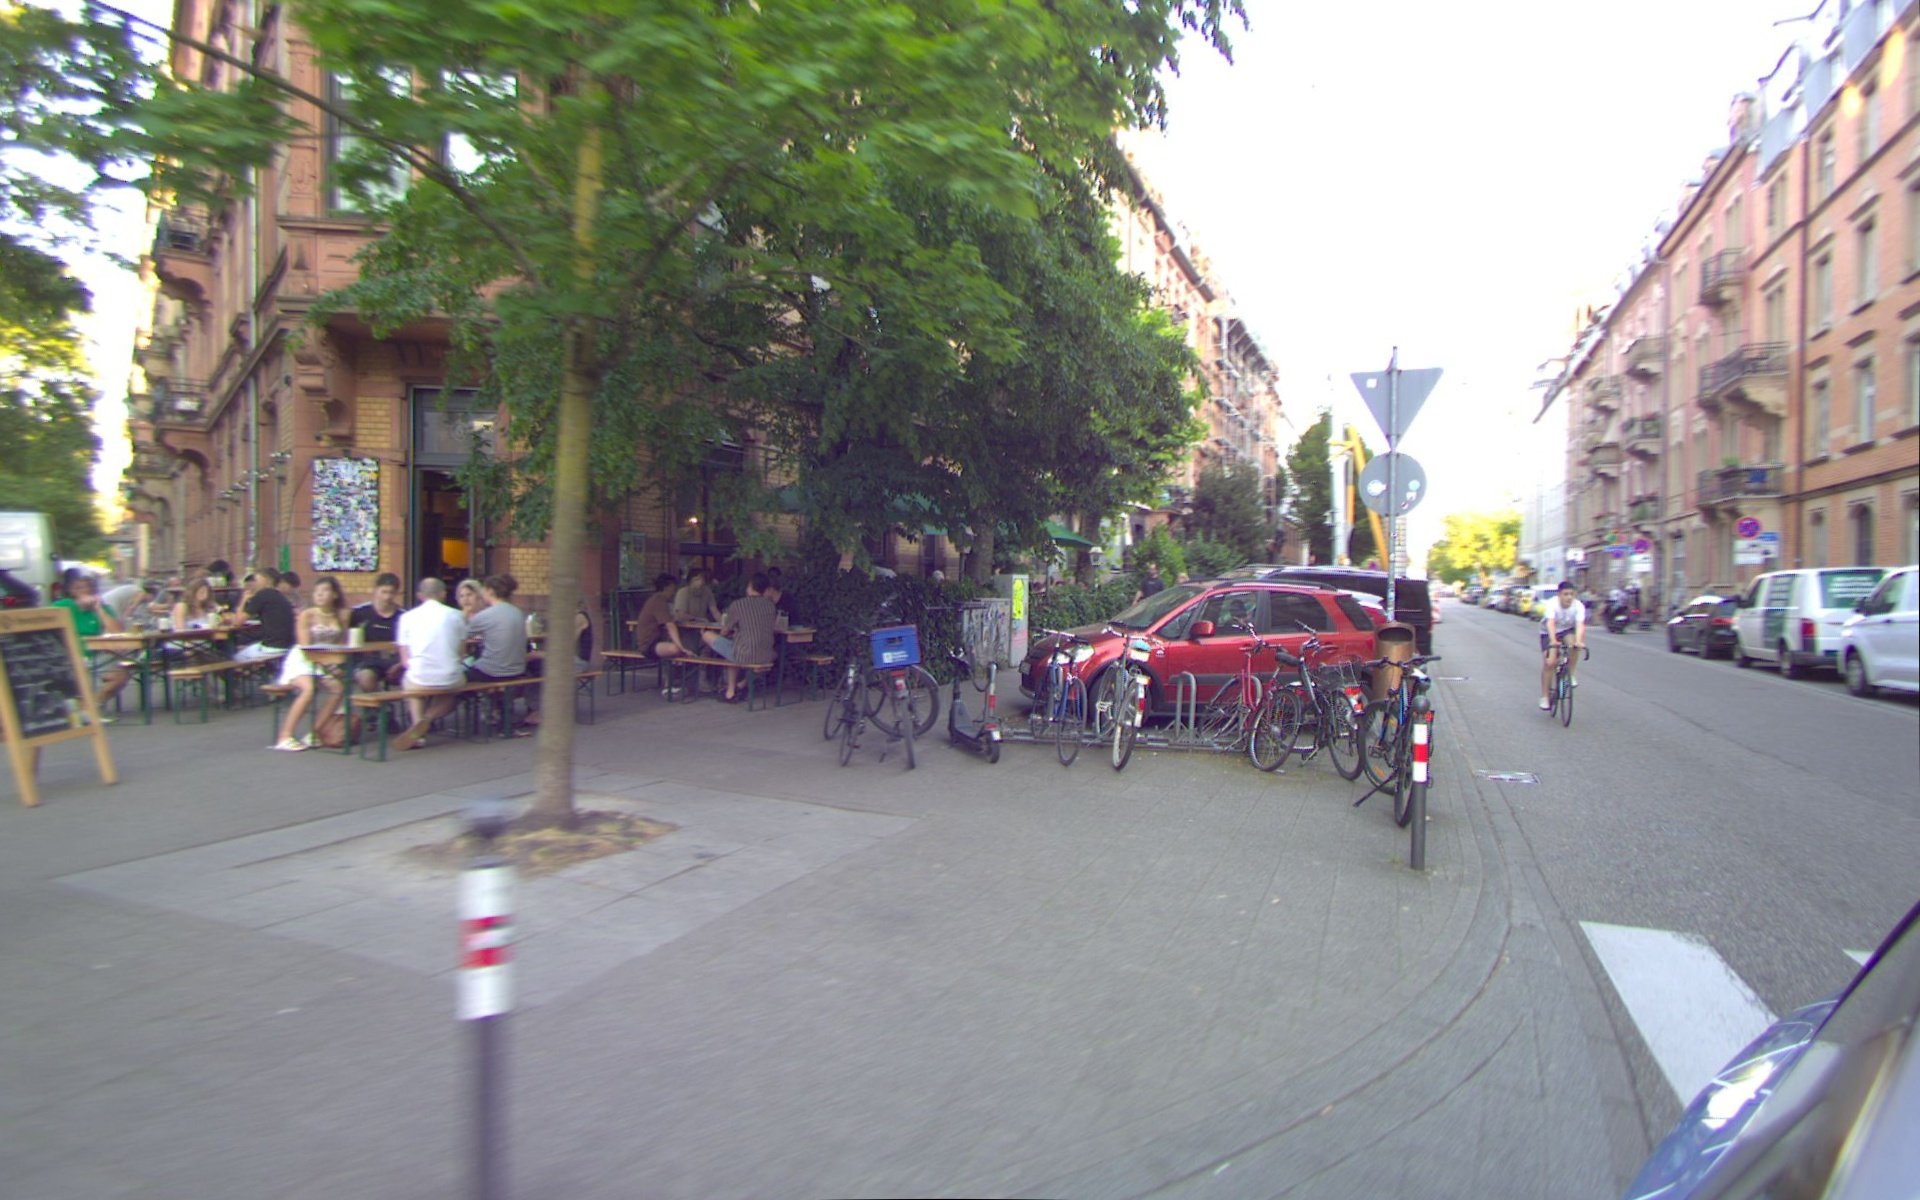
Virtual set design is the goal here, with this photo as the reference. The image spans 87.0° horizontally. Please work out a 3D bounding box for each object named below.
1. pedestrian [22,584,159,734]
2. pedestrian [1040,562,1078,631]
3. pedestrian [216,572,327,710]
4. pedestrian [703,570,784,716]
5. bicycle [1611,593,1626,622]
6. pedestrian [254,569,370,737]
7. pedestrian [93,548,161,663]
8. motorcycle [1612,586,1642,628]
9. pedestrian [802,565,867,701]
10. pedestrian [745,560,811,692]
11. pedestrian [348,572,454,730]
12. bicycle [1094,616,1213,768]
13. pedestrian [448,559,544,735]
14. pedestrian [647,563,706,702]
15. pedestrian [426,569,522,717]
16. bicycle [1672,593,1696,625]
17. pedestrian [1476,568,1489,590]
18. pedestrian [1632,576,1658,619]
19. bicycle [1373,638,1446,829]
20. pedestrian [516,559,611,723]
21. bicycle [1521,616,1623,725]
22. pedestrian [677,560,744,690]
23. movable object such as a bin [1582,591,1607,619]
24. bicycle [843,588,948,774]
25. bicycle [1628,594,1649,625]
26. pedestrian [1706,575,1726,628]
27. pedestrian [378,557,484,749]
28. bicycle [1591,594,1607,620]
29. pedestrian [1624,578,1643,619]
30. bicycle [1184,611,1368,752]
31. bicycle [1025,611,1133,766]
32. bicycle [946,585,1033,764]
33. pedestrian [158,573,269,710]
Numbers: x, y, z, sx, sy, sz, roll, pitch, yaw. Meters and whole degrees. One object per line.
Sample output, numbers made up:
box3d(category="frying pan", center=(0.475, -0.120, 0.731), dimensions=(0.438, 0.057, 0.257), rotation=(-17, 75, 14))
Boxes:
box3d(category="pedestrian", center=(-7.641, 0.490, 8.909), dimensions=(0.621, 1.247, 0.733), rotation=(-1, 1, 28))
box3d(category="pedestrian", center=(2.030, -0.075, 20.723), dimensions=(0.582, 1.383, 0.692), rotation=(-1, 0, 21))
box3d(category="pedestrian", center=(-7.089, 0.397, 10.433), dimensions=(0.621, 1.362, 0.733), rotation=(-1, 1, 28))
box3d(category="pedestrian", center=(-2.169, 0.418, 10.165), dimensions=(0.629, 1.427, 0.512), rotation=(-1, 0, 13))
box3d(category="bicycle", center=(28.520, 0.305, 43.836), dimensions=(0.463, 1.169, 1.978), rotation=(-1, 1, 31))
box3d(category="pedestrian", center=(-5.171, 0.398, 8.088), dimensions=(0.541, 1.285, 0.569), rotation=(-1, 0, 26))
box3d(category="pedestrian", center=(-12.742, 0.068, 15.504), dimensions=(0.733, 1.698, 0.766), rotation=(-1, 1, -36))
box3d(category="motorcycle", center=(23.925, 0.238, 36.330), dimensions=(0.680, 1.422, 1.996), rotation=(-1, 1, 27))
box3d(category="pedestrian", center=(-1.353, 0.346, 10.954), dimensions=(0.546, 1.427, 0.512), rotation=(-1, 0, 13))
box3d(category="pedestrian", center=(-2.020, 0.283, 11.246), dimensions=(0.546, 1.427, 0.512), rotation=(-1, 0, 13))
box3d(category="pedestrian", center=(-4.751, 0.412, 8.615), dimensions=(0.541, 1.285, 0.569), rotation=(-1, 0, 26))
box3d(category="bicycle", center=(1.575, 0.711, 8.510), dimensions=(0.587, 1.077, 1.770), rotation=(-1, 1, -2))
box3d(category="pedestrian", center=(-3.839, 0.370, 8.380), dimensions=(0.540, 1.397, 0.463), rotation=(-1, 0, 23))
box3d(category="pedestrian", center=(-2.996, 0.329, 10.732), dimensions=(0.504, 1.427, 0.620), rotation=(-1, 0, -8))
box3d(category="pedestrian", center=(-4.404, 0.367, 9.184), dimensions=(0.541, 1.285, 0.569), rotation=(-1, 0, 26))
box3d(category="bicycle", center=(27.916, 0.351, 39.028), dimensions=(0.409, 1.174, 1.822), rotation=(-1, 1, 25))
box3d(category="pedestrian", center=(67.842, -2.711, 131.375), dimensions=(1.430, 2.775, 1.004), rotation=(-1, 0, 24))
box3d(category="pedestrian", center=(29.166, -0.115, 43.097), dimensions=(0.676, 1.833, 0.955), rotation=(-1, 0, 21))
box3d(category="bicycle", center=(3.065, 0.845, 6.964), dimensions=(0.361, 1.077, 1.542), rotation=(-1, 1, 21))
box3d(category="pedestrian", center=(-3.530, 0.345, 9.017), dimensions=(0.542, 1.397, 0.568), rotation=(-1, 0, 32))
box3d(category="bicycle", center=(7.471, 0.818, 12.436), dimensions=(0.513, 1.169, 1.776), rotation=(-1, 1, 12))
box3d(category="pedestrian", center=(-2.814, 0.275, 11.444), dimensions=(0.506, 1.427, 0.617), rotation=(-1, 0, 13))
box3d(category="movable object such as a bin", center=(29.355, 0.229, 46.816), dimensions=(0.881, 1.266, 0.769), rotation=(-1, 1, 26))
box3d(category="bicycle", center=(-0.552, 0.557, 8.012), dimensions=(0.586, 1.304, 1.726), rotation=(0, 1, -11))
box3d(category="bicycle", center=(26.772, 0.353, 39.961), dimensions=(0.409, 1.174, 1.822), rotation=(-1, 1, 25))
box3d(category="pedestrian", center=(26.535, 0.047, 35.514), dimensions=(0.460, 1.812, 0.635), rotation=(-1, 0, 28))
box3d(category="pedestrian", center=(-4.019, 0.385, 7.693), dimensions=(0.540, 1.397, 0.463), rotation=(-1, 0, 23))
box3d(category="bicycle", center=(27.400, 0.302, 43.419), dimensions=(0.463, 1.081, 1.506), rotation=(-1, 1, 28))
box3d(category="pedestrian", center=(30.307, -0.072, 45.516), dimensions=(0.598, 1.837, 0.709), rotation=(0, 1, 43))
box3d(category="bicycle", center=(2.848, 0.723, 9.215), dimensions=(1.528, 1.175, 0.364), rotation=(2, 1, 11))
box3d(category="bicycle", center=(0.953, 0.675, 8.502), dimensions=(0.587, 1.076, 1.770), rotation=(3, 1, -2))
box3d(category="bicycle", center=(0.205, 0.539, 8.341), dimensions=(0.587, 1.304, 1.770), rotation=(-1, 1, -2))
box3d(category="pedestrian", center=(-7.776, 0.406, 10.556), dimensions=(0.621, 1.362, 0.733), rotation=(-1, 1, 28))
